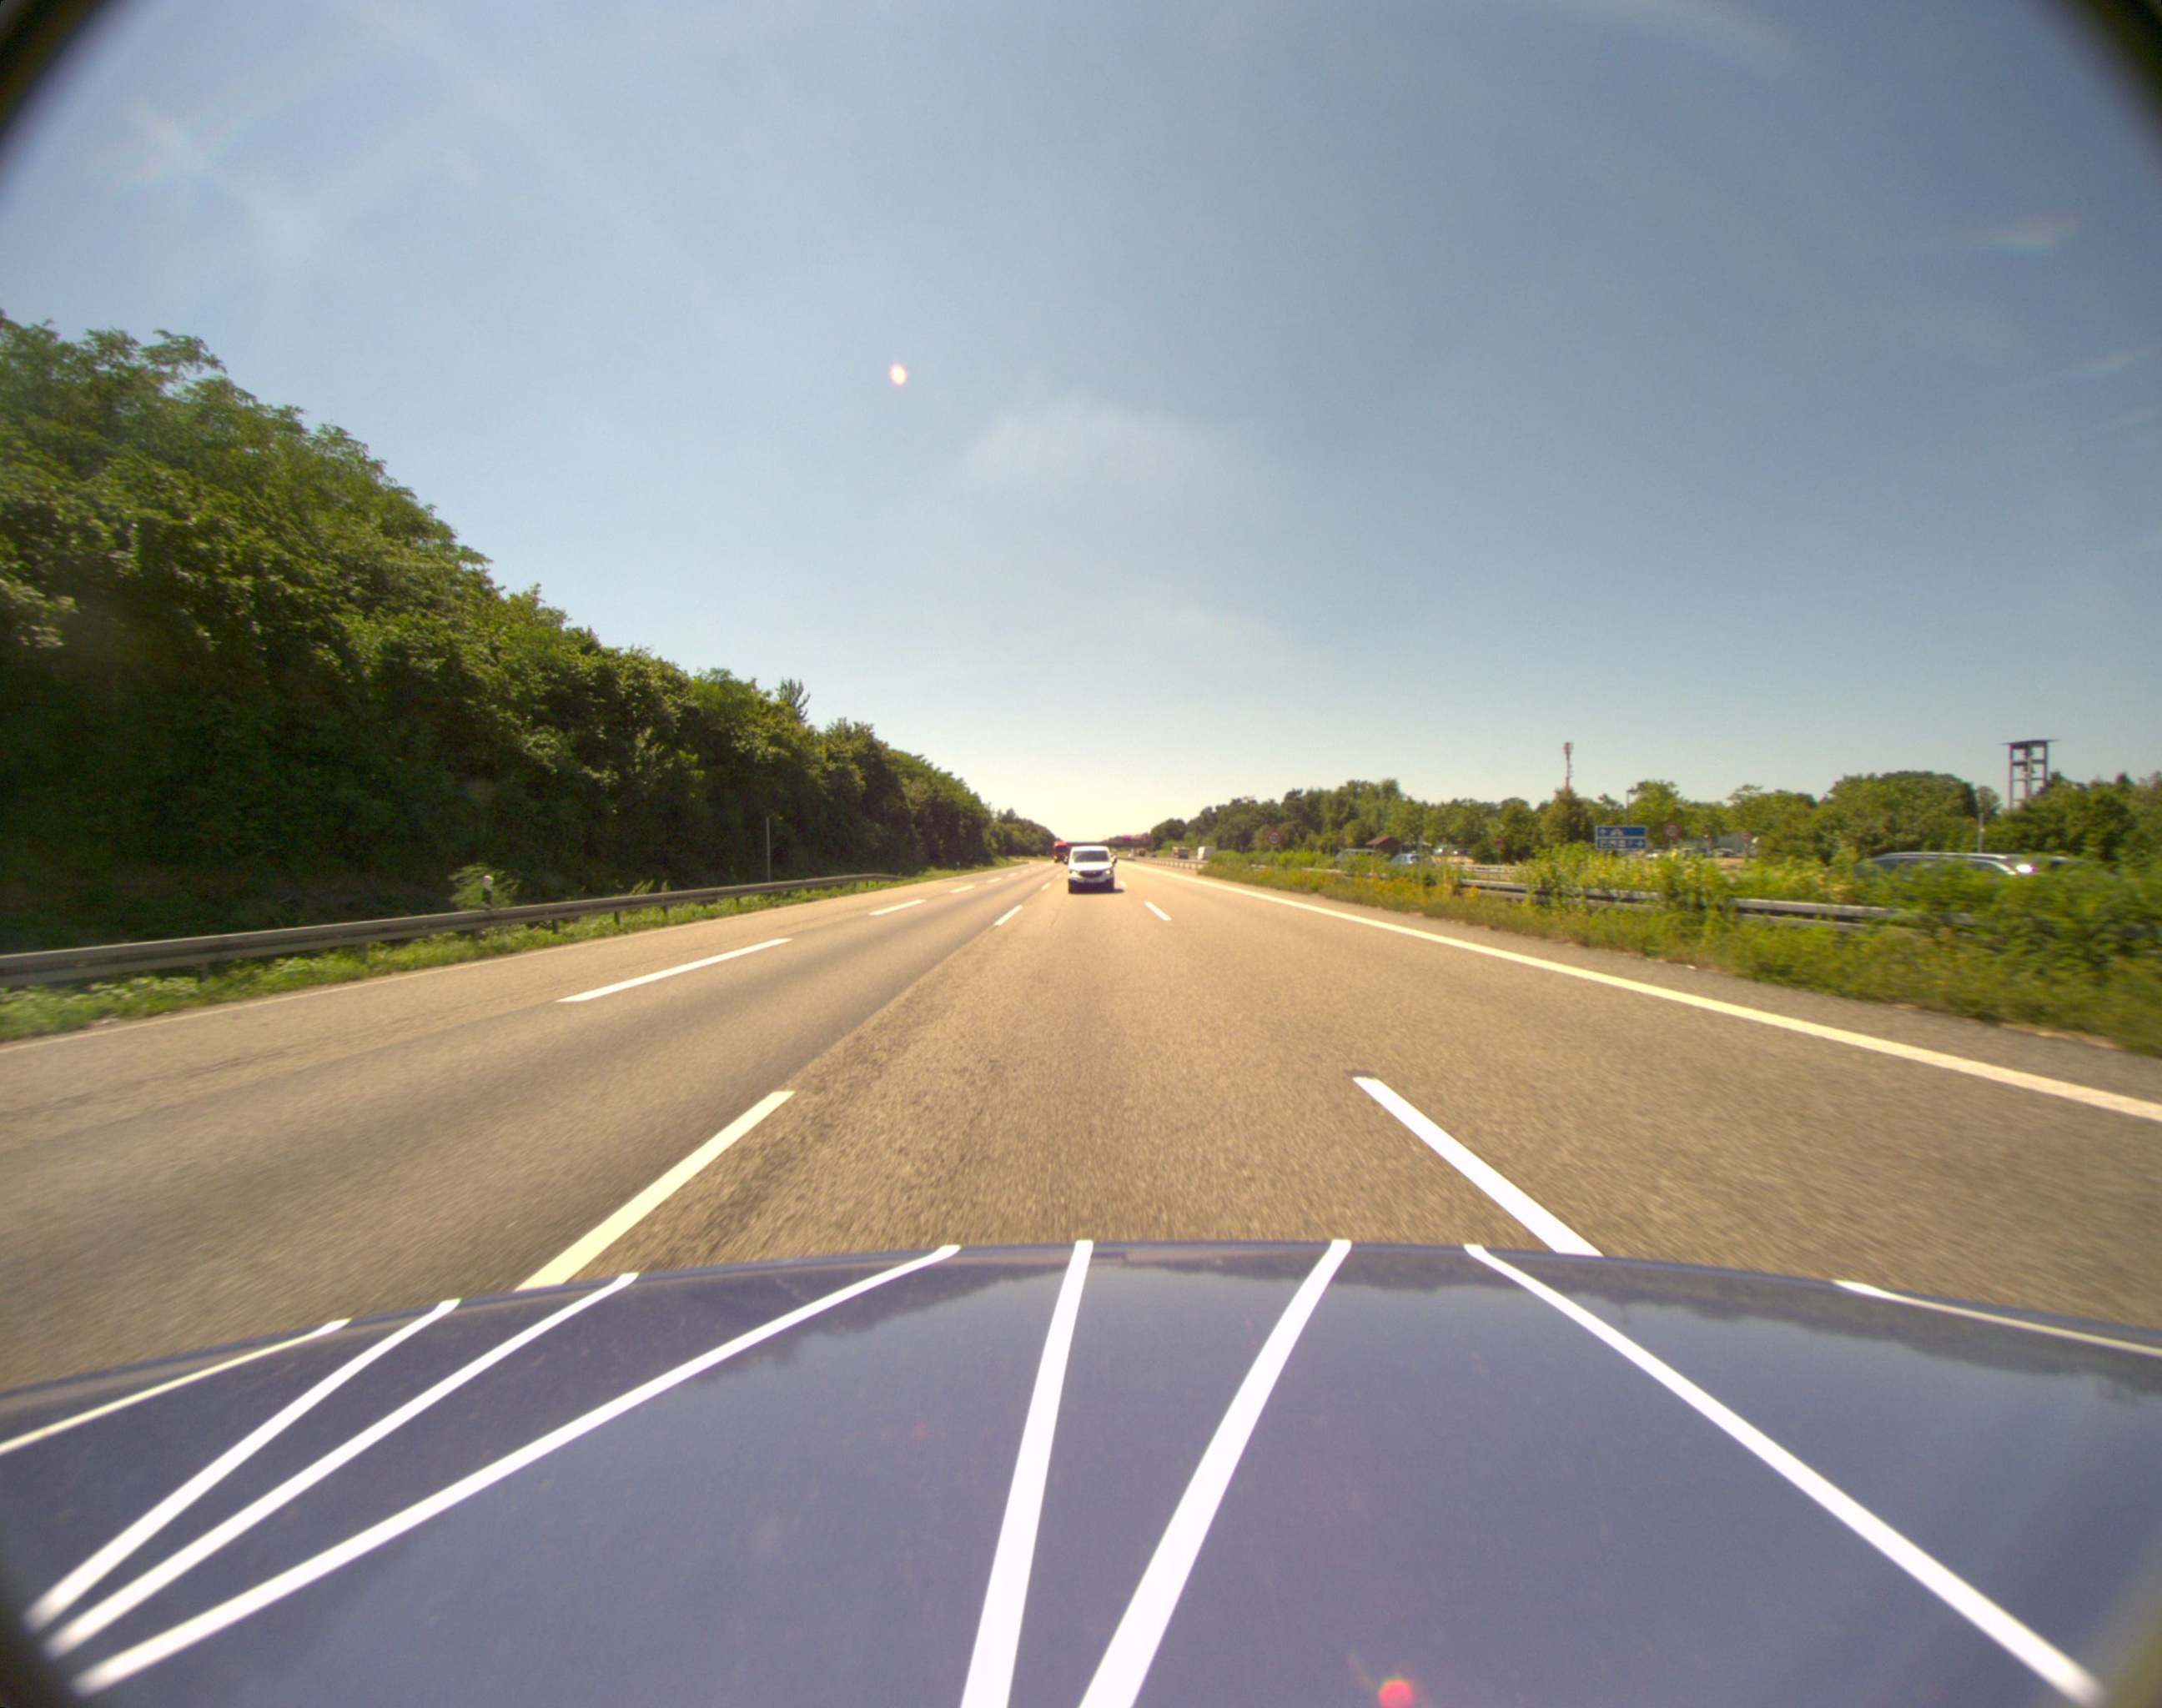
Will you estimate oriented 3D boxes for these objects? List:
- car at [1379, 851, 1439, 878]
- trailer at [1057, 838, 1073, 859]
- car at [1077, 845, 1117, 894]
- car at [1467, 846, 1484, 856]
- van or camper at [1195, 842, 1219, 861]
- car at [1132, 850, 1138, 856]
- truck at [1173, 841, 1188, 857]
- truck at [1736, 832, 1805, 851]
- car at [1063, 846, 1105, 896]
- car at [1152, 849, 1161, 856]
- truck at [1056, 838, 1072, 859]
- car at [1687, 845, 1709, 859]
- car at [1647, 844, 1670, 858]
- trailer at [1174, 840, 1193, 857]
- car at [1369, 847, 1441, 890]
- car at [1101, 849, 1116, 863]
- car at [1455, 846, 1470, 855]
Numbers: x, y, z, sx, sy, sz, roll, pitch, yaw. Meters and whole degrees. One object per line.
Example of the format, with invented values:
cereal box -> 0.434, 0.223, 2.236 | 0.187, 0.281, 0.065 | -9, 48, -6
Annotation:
car -> 17.962, 0.545, 41.820 | 1.546, 1.416, 3.852 | 1, 1, -1
trailer -> -2.926, -1.059, 140.540 | 2.540, 3.656, 7.845 | -2, 1, 2
car -> 0.595, 0.558, 29.759 | 1.413, 1.795, 3.200 | -2, 1, 0
car -> 74.812, -0.576, 144.182 | 3.117, 1.599, 1.494 | -3, 1, -35
van or camper -> 18.632, -0.377, 112.558 | 2.424, 2.567, 6.366 | -2, 1, 0
car -> 18.900, -0.393, 265.433 | 1.811, 1.703, 4.508 | -2, 1, 0
truck -> 22.952, -1.266, 175.503 | 2.789, 3.495, 5.645 | -2, 1, 0
truck -> 97.045, -1.750, 107.028 | 2.143, 2.478, 6.913 | -3, 1, -41
car -> 0.127, 0.614, 29.853 | 1.501, 1.799, 3.393 | -2, 1, 0
car -> 18.893, -0.306, 190.433 | 1.750, 1.705, 4.484 | -2, 1, 0
truck -> -3.031, -0.987, 136.221 | 2.540, 3.656, 5.219 | -2, 1, 1
car -> 74.342, -0.262, 91.561 | 1.544, 1.599, 3.284 | -2, 1, 31
car -> 74.338, -0.360, 97.784 | 3.407, 1.662, 1.544 | -3, 1, -38
trailer -> 22.950, -1.210, 170.233 | 2.789, 3.495, 9.369 | -2, 1, 0
car -> 13.887, 0.575, 32.745 | 1.707, 1.700, 3.589 | -2, 1, 4
car -> 3.093, 0.209, 85.655 | 1.586, 1.497, 3.793 | -2, 1, 1
car -> 75.406, -0.665, 150.219 | 3.118, 1.599, 1.493 | -3, 1, -42
